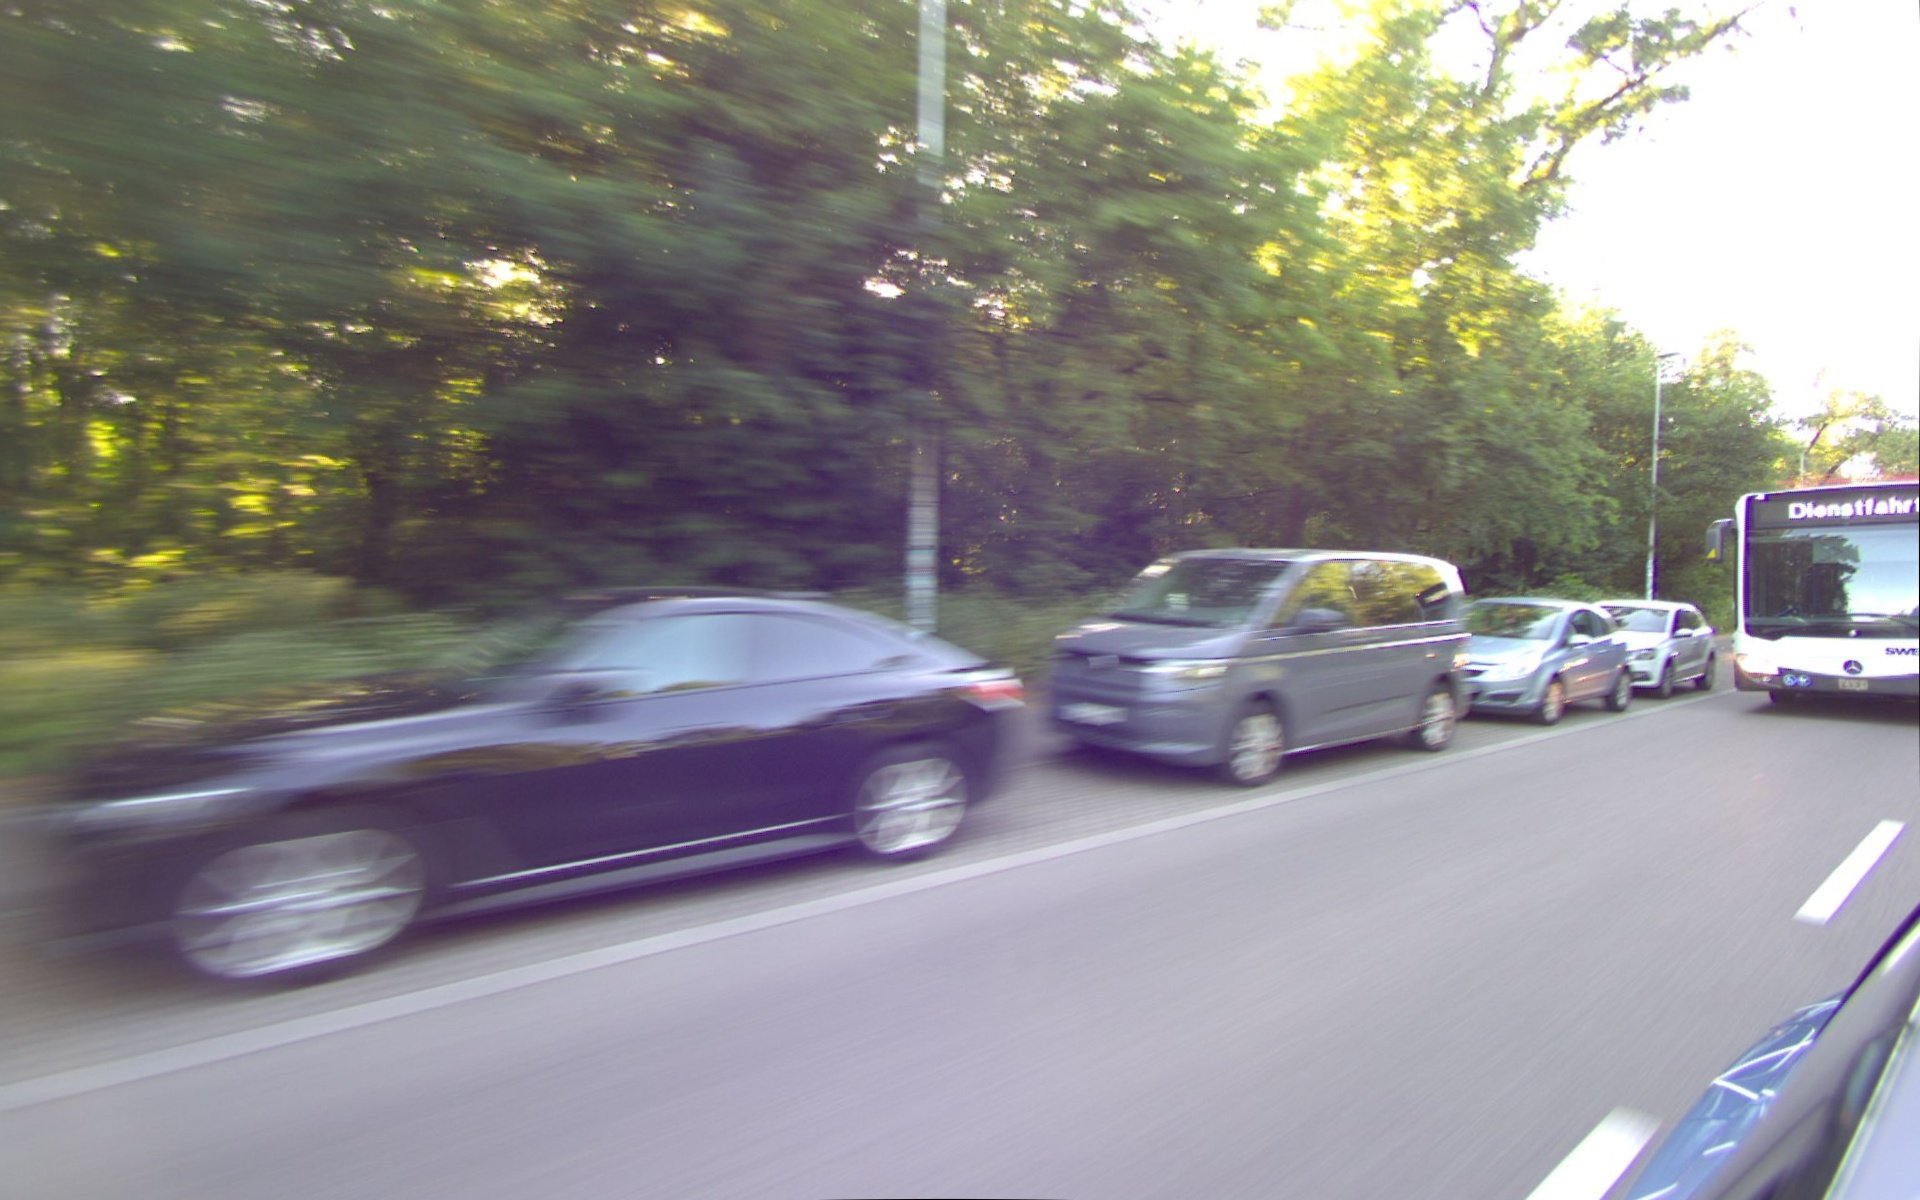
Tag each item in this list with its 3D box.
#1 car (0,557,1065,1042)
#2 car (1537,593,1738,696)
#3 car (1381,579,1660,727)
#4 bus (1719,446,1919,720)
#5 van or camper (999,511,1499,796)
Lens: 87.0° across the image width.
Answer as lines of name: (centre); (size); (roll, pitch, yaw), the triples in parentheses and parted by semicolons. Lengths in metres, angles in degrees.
car: (-1.838, 0.601, 5.298); (4.868, 1.459, 1.843); (0, 3, -40)
car: (11.190, 0.642, 16.619); (4.028, 1.459, 1.731); (0, 1, -41)
car: (7.343, 0.566, 13.104); (4.142, 1.562, 1.732); (0, 3, -40)
bus: (15.531, -0.230, 16.562); (12.068, 3.262, 2.708); (0, 1, -42)
van or camper: (2.881, 0.334, 9.356); (5.042, 1.972, 1.897); (0, 2, -40)
